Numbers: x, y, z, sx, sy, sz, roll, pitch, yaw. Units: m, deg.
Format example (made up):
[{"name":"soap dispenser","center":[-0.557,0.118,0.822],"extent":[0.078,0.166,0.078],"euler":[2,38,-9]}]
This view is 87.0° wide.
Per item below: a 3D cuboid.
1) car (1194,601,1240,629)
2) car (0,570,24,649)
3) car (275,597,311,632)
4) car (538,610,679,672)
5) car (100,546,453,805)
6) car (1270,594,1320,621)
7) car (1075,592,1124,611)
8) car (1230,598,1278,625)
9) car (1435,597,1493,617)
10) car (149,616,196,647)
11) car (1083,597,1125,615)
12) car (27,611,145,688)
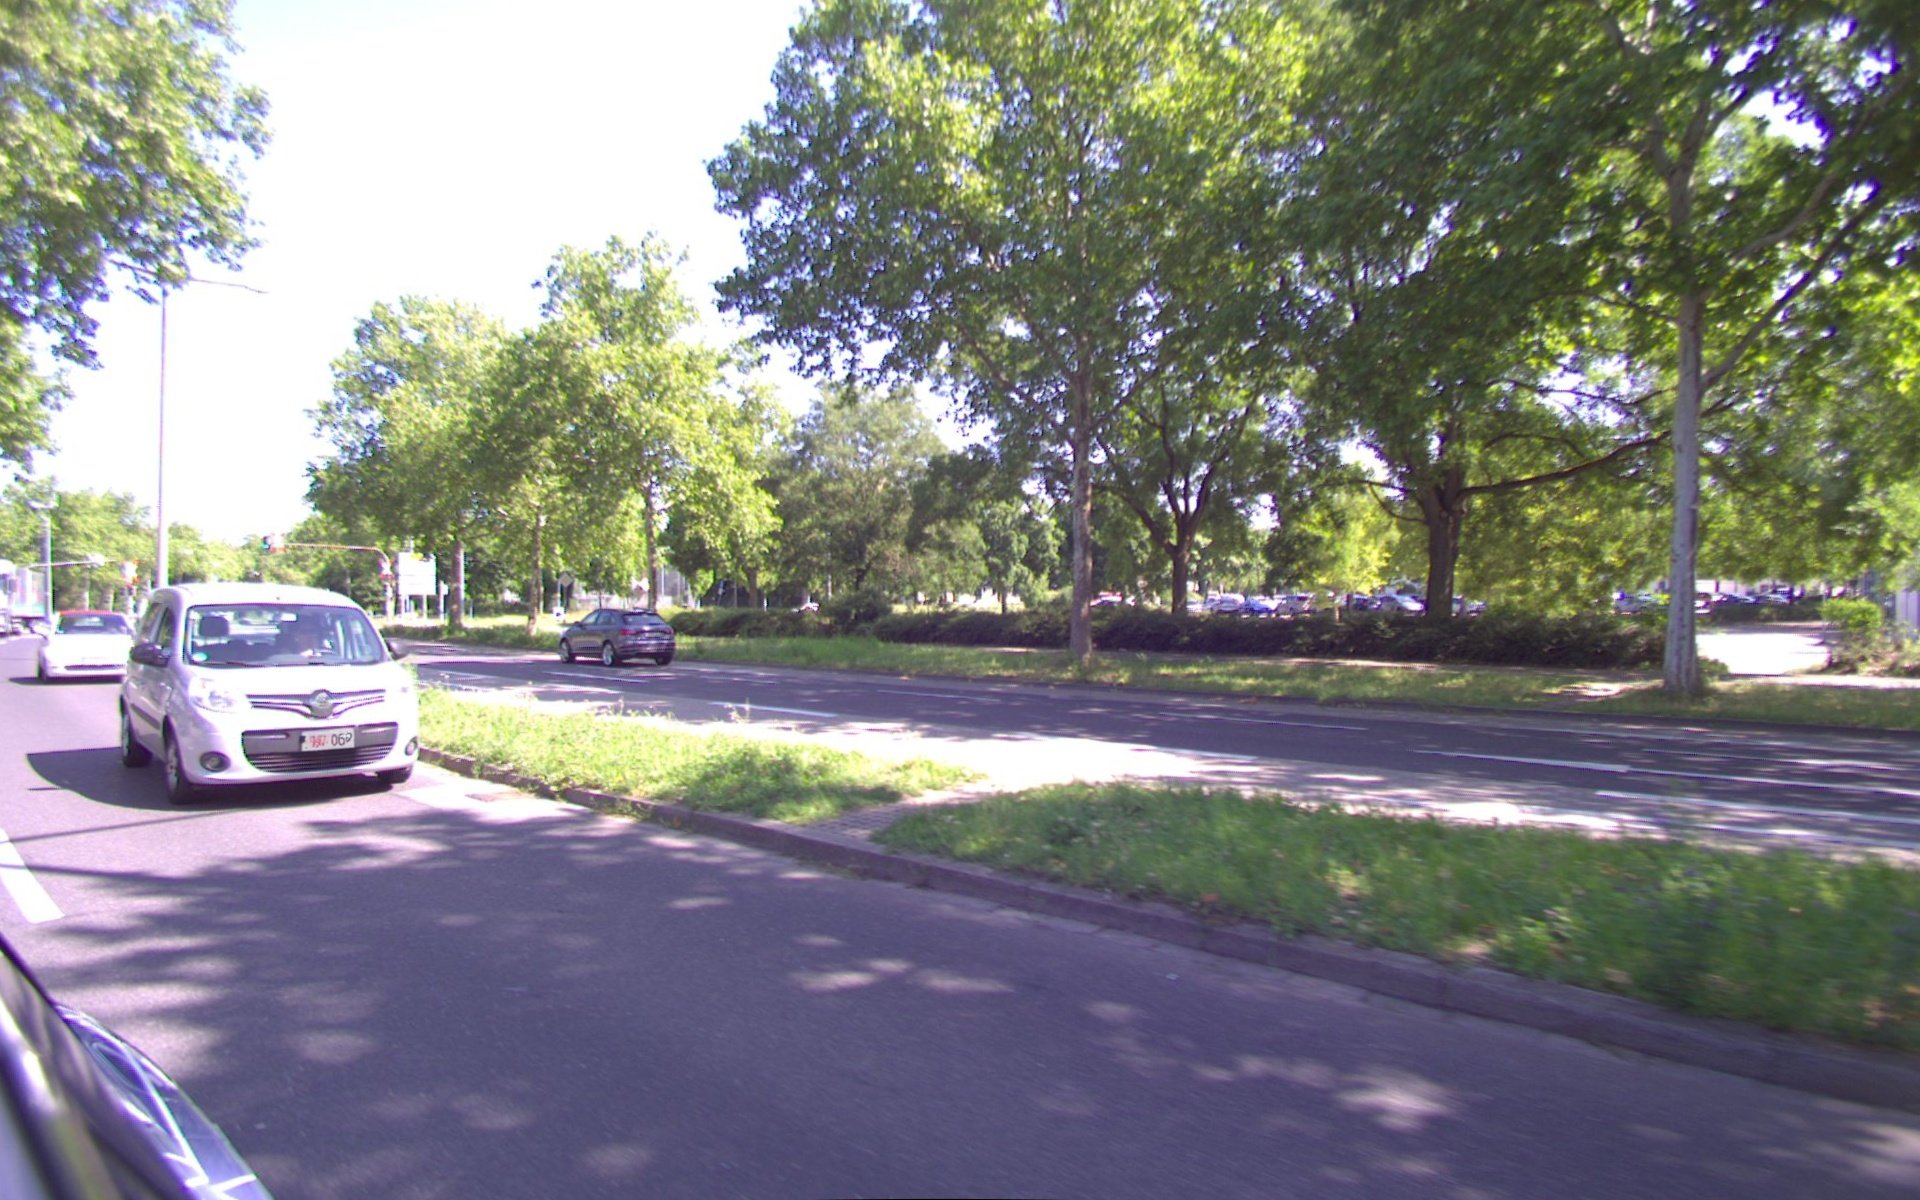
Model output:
[{"name":"car","center":[19.288,1.125,76.116],"extent":[1.788,2.029,4.010],"euler":[0,0,-12]},{"name":"car","center":[-50.892,0.488,52.658],"extent":[2.859,3.950,7.153],"euler":[0,0,-40]},{"name":"car","center":[-51.609,1.086,78.389],"extent":[2.032,2.633,7.238],"euler":[1,-1,-32]},{"name":"car","center":[-9.913,1.089,28.396],"extent":[4.393,1.568,1.776],"euler":[0,-1,41]},{"name":"car","center":[-6.517,0.604,9.437],"extent":[4.377,1.854,1.851],"euler":[-1,-3,44]},{"name":"car","center":[25.436,0.540,77.013],"extent":[1.788,2.029,4.010],"euler":[0,0,-12]},{"name":"car","center":[12.389,0.115,90.052],"extent":[3.926,1.715,1.817],"euler":[0,0,-6]},{"name":"car","center":[22.135,0.843,76.274],"extent":[1.788,2.029,4.010],"euler":[0,0,-12]},{"name":"car","center":[38.674,0.550,77.779],"extent":[1.787,1.502,4.011],"euler":[0,0,-15]},{"name":"car","center":[-42.608,1.672,54.819],"extent":[1.671,1.519,4.141],"euler":[0,0,-33]},{"name":"car","center":[12.346,0.507,86.615],"extent":[3.290,1.457,1.351],"euler":[0,0,-6]},{"name":"car","center":[-18.983,1.017,21.915],"extent":[1.665,1.502,4.379],"euler":[2,-2,-44]}]
